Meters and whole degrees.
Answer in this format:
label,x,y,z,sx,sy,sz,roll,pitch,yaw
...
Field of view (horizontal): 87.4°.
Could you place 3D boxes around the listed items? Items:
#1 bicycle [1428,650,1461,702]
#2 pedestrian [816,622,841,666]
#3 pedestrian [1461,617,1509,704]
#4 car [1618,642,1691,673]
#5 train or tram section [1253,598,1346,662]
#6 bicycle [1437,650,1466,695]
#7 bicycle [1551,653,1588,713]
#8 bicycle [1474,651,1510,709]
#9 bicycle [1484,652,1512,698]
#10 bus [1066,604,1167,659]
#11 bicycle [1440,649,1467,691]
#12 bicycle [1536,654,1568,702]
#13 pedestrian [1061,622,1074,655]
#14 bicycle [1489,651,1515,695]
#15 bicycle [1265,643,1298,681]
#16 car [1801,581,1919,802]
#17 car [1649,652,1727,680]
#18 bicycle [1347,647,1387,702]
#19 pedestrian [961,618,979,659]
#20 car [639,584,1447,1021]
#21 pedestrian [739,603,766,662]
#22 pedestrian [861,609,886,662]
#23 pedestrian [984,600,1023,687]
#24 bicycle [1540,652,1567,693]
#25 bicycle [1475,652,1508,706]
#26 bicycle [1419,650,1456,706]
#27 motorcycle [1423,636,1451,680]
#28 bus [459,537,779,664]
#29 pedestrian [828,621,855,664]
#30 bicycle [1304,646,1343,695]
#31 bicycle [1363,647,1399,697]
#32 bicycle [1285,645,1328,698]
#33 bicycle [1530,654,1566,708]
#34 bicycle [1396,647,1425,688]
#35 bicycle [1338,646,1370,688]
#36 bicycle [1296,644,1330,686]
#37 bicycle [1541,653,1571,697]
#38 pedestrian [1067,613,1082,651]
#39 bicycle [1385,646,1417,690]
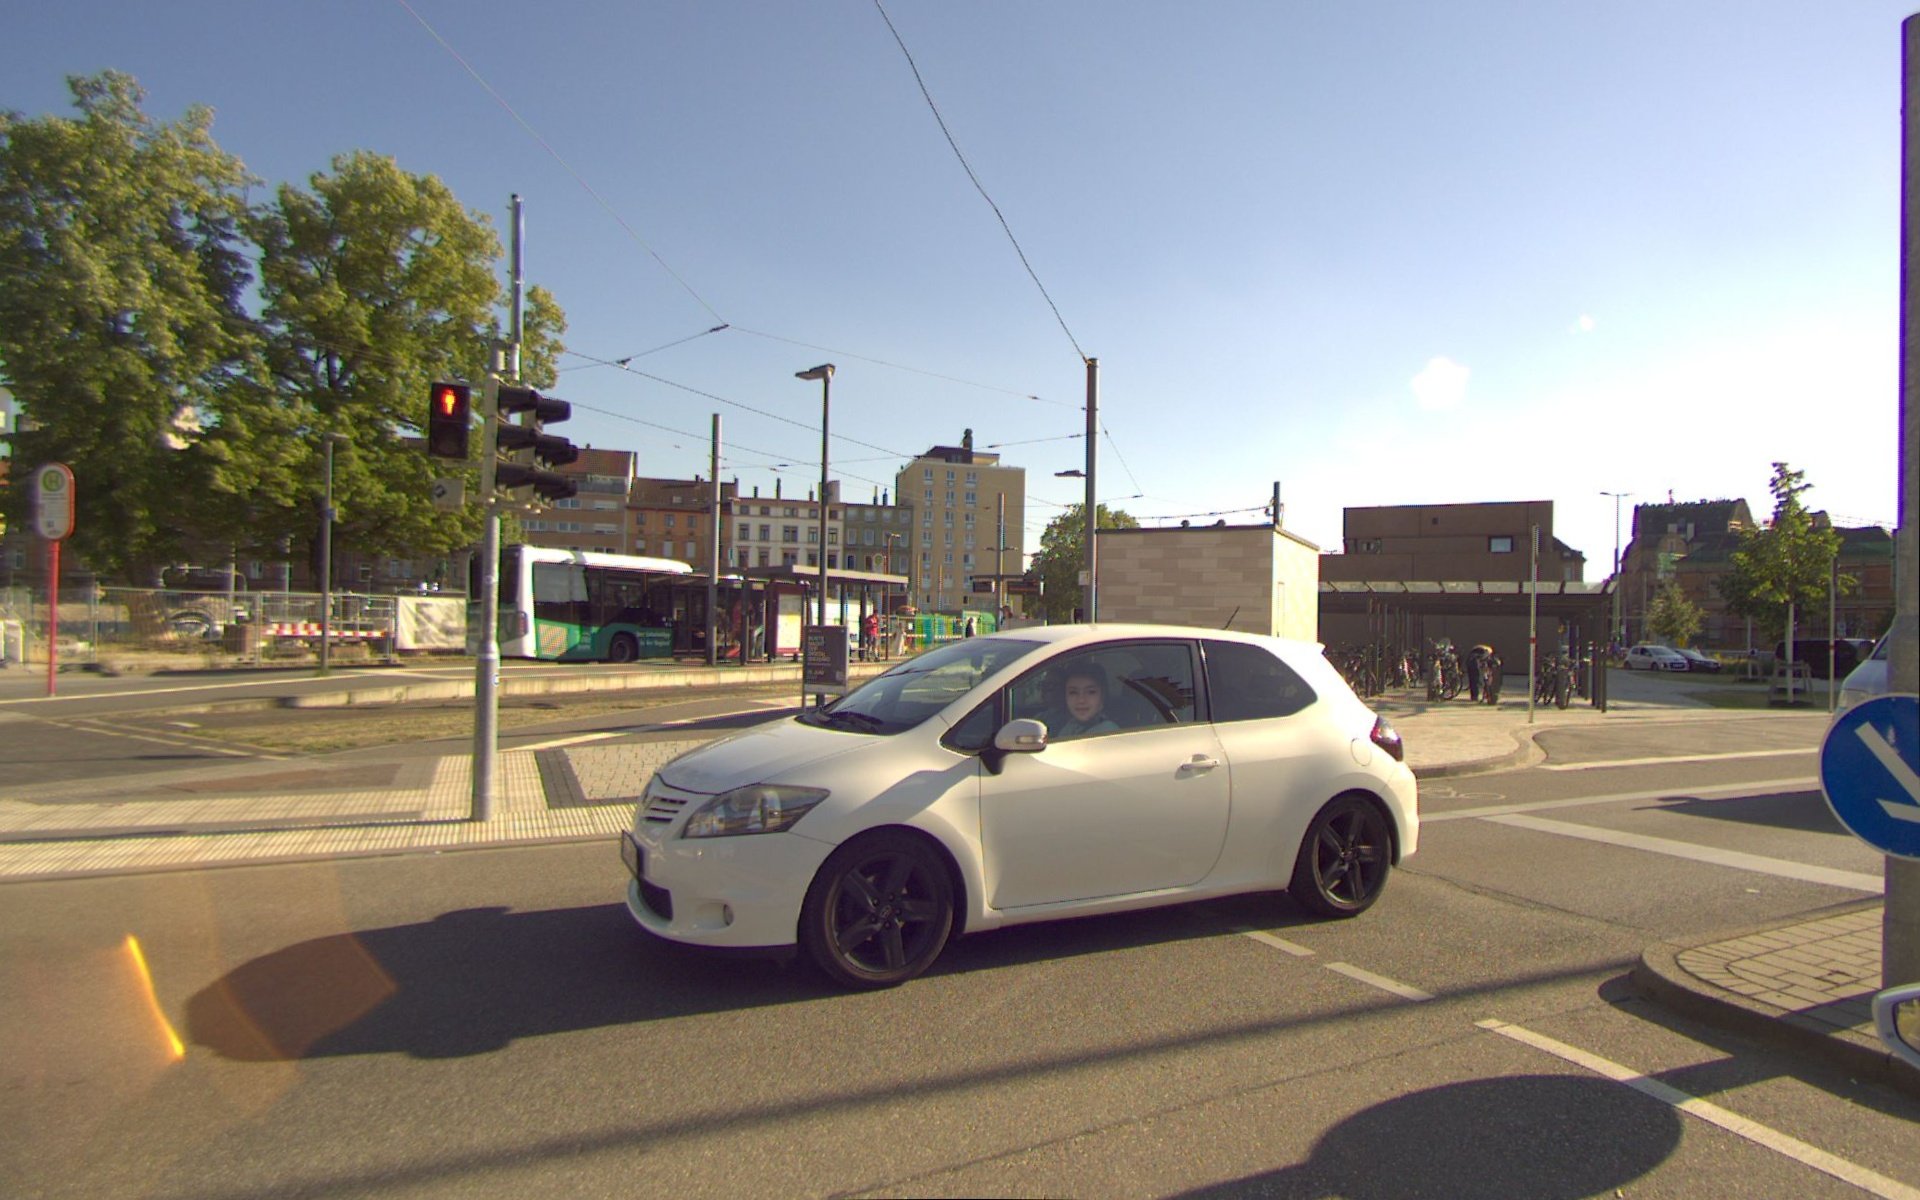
label,x,y,z,sx,sy,sz,roll,pitch,yaw
bicycle,11.620,1.788,24.071,0.597,1.129,1.894,3,0,28
pedestrian,-4.099,1.378,31.382,0.606,1.358,0.440,1,-1,24
pedestrian,11.975,1.357,22.909,0.887,1.893,0.686,3,0,29
car,38.212,3.157,55.359,1.612,1.581,3.601,1,-2,2
train or tram section,22.042,1.940,64.609,2.996,3.644,12.025,3,-1,31
bicycle,13.426,1.966,27.397,0.597,1.129,1.894,3,0,28
bicycle,12.703,1.698,20.937,0.598,1.129,1.893,3,0,31
bicycle,11.464,1.687,21.635,0.597,1.129,1.894,3,0,28
bicycle,14.344,1.975,26.793,0.597,1.129,1.894,3,0,28
bus,10.909,2.143,68.252,2.679,3.317,13.452,3,-1,26
bicycle,14.355,2.007,29.194,0.597,1.129,1.894,3,0,28
bicycle,15.384,2.004,26.138,0.597,1.129,1.894,3,0,28
pedestrian,5.857,2.086,54.781,0.561,1.772,0.640,1,-1,22
bicycle,15.373,2.056,28.494,0.597,1.129,1.894,3,0,28
bicycle,10.126,1.933,31.613,0.597,1.129,1.894,3,0,28
car,10.700,0.878,9.877,4.641,1.970,1.904,2,-3,-25
car,44.325,4.008,61.212,1.625,1.581,3.584,2,-2,-20
bicycle,9.298,1.671,22.914,0.597,1.129,1.894,3,0,28
pedestrian,0.435,1.674,43.720,0.627,1.772,0.572,1,-1,14
car,0.483,0.808,5.283,3.927,1.581,1.689,2,-2,-26
pedestrian,-6.259,0.977,30.280,0.530,1.772,0.558,0,-2,36
pedestrian,-2.896,1.186,33.711,0.561,1.772,0.639,1,-1,24
pedestrian,0.904,0.903,21.016,0.627,1.772,0.572,1,-1,22
bicycle,18.242,2.210,30.883,0.597,1.129,1.894,3,0,28
bicycle,12.380,1.809,23.388,0.597,1.129,1.894,3,0,28
bicycle,10.578,1.707,22.233,0.597,1.129,1.894,3,0,28
motorcycle,16.413,1.978,34.576,0.754,1.408,1.894,3,0,27
bus,-9.705,0.130,30.219,2.615,3.177,9.624,3,-1,31
pedestrian,-3.772,1.347,32.002,0.561,1.363,0.639,1,-1,24
bicycle,9.084,1.732,25.060,0.597,1.129,1.894,3,0,28
bicycle,10.367,1.745,24.704,0.597,1.129,1.894,3,0,28
bicycle,8.051,1.637,23.316,0.597,1.129,1.894,3,0,28
bicycle,13.435,1.826,22.967,0.597,1.129,1.894,3,0,28
bicycle,13.391,1.987,29.837,0.597,1.129,1.894,3,0,28
bicycle,11.260,1.892,28.666,0.597,1.129,1.894,3,0,28
bicycle,10.334,1.889,29.386,0.597,1.129,1.894,3,0,28
bicycle,16.479,2.051,27.789,0.597,1.129,1.894,3,0,28
pedestrian,5.347,1.499,46.920,0.627,1.772,0.572,1,-1,14
bicycle,12.324,1.866,28.045,0.597,1.129,1.894,3,0,28
